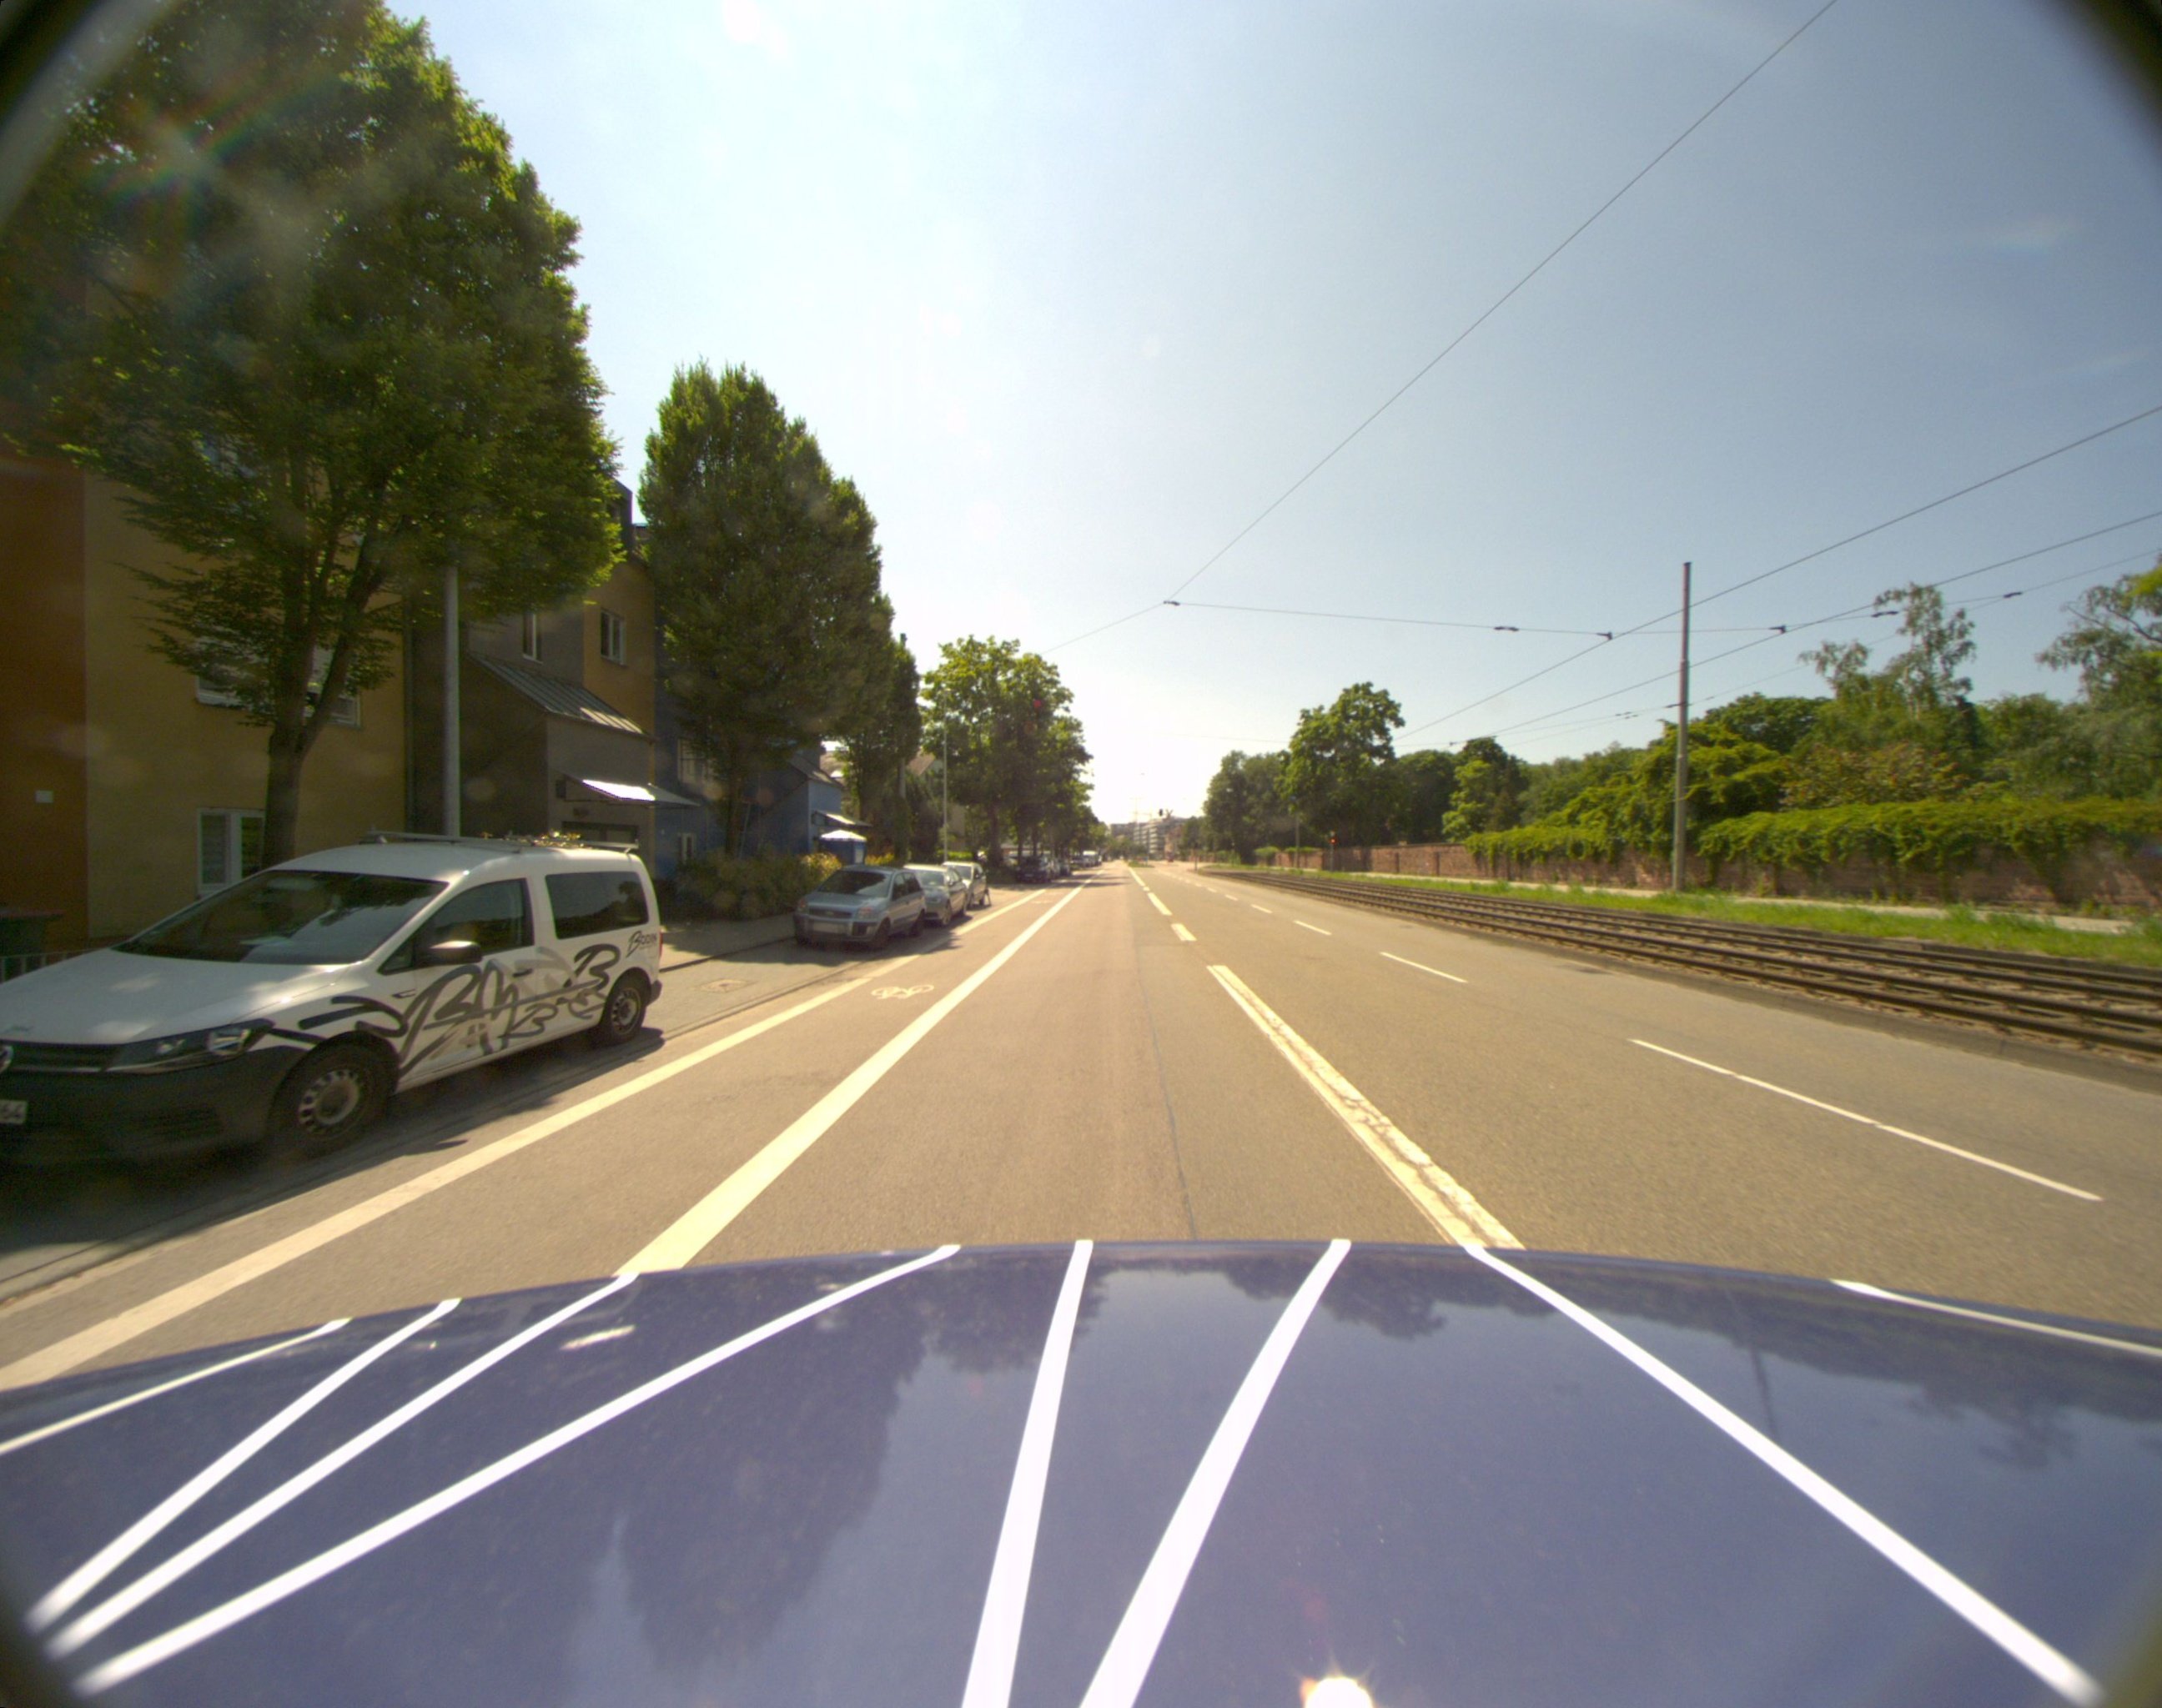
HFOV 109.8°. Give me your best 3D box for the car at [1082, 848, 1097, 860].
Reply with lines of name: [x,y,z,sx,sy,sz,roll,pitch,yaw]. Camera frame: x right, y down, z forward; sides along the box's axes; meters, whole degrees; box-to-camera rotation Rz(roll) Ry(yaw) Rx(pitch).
car: [1.332,-0.035,119.313,2.002,1.867,5.277,1,0,5]

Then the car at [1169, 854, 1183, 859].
car: [28.813,0.764,229.412,4.290,1.405,1.707,-1,0,-42]

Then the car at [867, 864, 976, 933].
car: [-4.140,1.085,20.595,1.845,1.520,4.965,1,0,0]

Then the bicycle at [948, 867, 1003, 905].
bicycle: [-3.838,1.164,27.737,1.777,1.221,0.684,4,2,7]

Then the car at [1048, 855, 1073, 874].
car: [-1.711,0.870,64.648,1.845,1.428,4.824,1,0,1]

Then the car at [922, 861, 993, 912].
car: [-4.098,1.038,25.705,1.522,1.520,3.817,1,0,3]

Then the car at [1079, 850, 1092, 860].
car: [0.612,0.156,108.484,1.716,1.410,4.708,1,0,1]

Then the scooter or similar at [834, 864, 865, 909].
scooter or similar: [-6.899,0.950,22.715,0.385,1.272,1.339,-2,1,3]

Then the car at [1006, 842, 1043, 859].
car: [-8.829,-0.518,119.531,5.502,2.445,2.095,-3,1,4]

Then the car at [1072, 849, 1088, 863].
car: [-0.059,0.179,96.439,1.716,1.623,4.708,1,1,3]

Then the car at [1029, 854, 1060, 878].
car: [-2.487,0.794,53.173,1.845,1.520,4.353,1,0,1]

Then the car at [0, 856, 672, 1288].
car: [-5.092,0.941,5.450,1.845,1.783,4.354,1,0,2]

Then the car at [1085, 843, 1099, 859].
car: [1.817,-0.539,126.231,2.002,2.621,6.144,1,0,3]

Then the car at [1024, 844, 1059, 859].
car: [-7.473,-0.404,144.157,6.354,2.514,2.264,-3,1,6]

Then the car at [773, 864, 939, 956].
car: [-4.418,1.028,15.661,1.844,1.520,4.217,1,0,5]

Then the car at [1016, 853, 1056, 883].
car: [-2.756,0.811,47.324,1.844,1.696,4.627,1,0,4]

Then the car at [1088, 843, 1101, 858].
car: [2.456,-0.611,132.956,2.002,2.621,6.079,1,0,3]

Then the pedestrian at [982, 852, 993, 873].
pedestrian: [-7.779,0.668,63.263,0.749,1.712,0.632,-2,1,-3]

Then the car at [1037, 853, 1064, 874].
car: [-2.339,0.723,58.785,1.845,1.520,4.205,1,0,0]
